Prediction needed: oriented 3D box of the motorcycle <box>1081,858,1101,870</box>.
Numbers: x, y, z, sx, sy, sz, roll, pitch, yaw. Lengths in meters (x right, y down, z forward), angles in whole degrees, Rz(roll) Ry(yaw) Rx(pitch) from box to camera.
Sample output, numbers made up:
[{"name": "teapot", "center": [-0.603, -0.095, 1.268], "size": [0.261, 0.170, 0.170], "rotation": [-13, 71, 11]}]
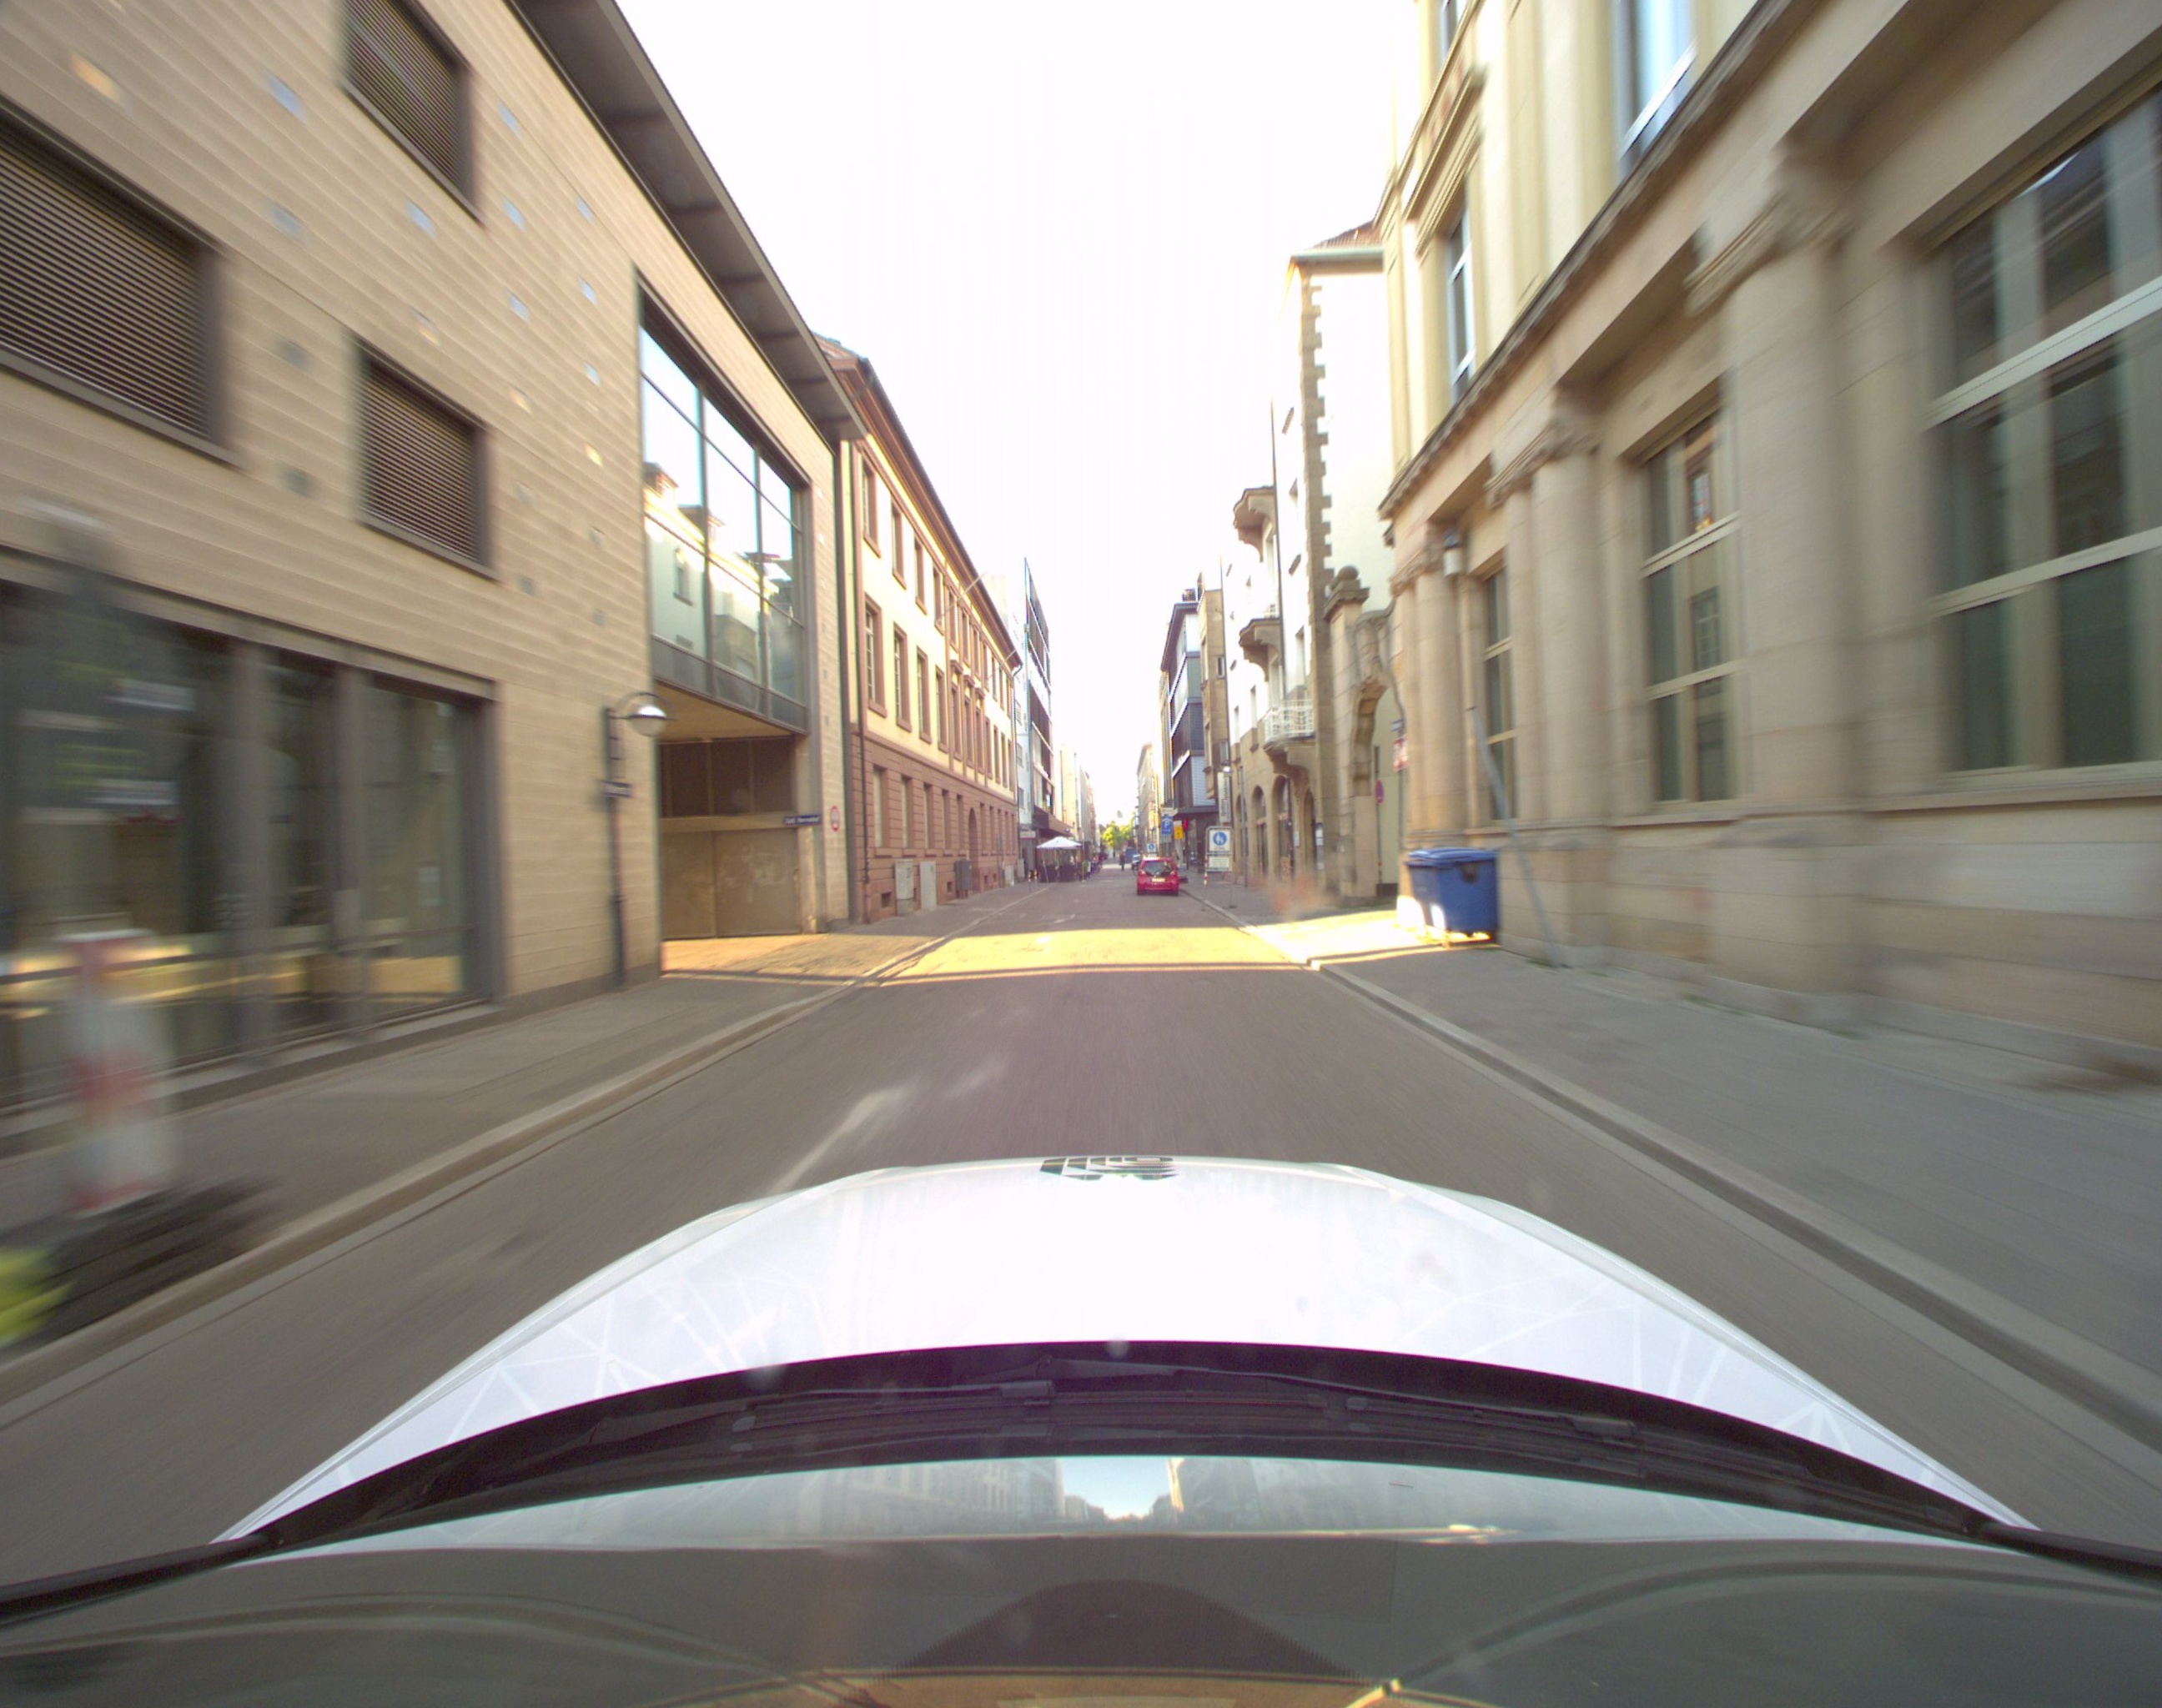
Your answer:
[{"name": "motorcycle", "center": [0.940, 0.931, 75.185], "size": [1.796, 0.989, 0.560], "rotation": [-2, 0, -2]}]

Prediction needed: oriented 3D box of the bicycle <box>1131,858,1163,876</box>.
[{"name": "bicycle", "center": [4.393, 0.877, 54.337], "size": [2.046, 1.134, 0.649], "rotation": [-2, 0, -2]}]

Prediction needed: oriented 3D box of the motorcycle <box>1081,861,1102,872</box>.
[{"name": "motorcycle", "center": [0.914, 1.113, 72.513], "size": [1.796, 0.875, 0.560], "rotation": [-2, 0, -2]}]

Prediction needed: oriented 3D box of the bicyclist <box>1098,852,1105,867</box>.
[{"name": "bicyclist", "center": [2.274, 0.600, 89.734], "size": [0.635, 1.641, 0.770], "rotation": [-2, 0, -7]}]

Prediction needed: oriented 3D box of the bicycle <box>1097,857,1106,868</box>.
[{"name": "bicycle", "center": [2.293, 0.963, 89.644], "size": [0.635, 1.157, 2.496], "rotation": [-2, 0, -6]}]

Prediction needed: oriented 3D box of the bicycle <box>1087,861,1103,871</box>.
[{"name": "bicycle", "center": [1.348, 1.145, 79.691], "size": [1.526, 0.896, 0.481], "rotation": [-2, 0, -26]}]

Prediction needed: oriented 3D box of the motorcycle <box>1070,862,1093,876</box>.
[{"name": "motorcycle", "center": [0.012, 1.220, 64.453], "size": [1.796, 1.040, 0.493], "rotation": [-2, 0, -2]}]

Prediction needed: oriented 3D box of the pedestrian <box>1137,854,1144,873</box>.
[{"name": "pedestrian", "center": [5.083, 0.801, 69.659], "size": [0.465, 1.619, 0.633], "rotation": [-2, 0, -9]}]

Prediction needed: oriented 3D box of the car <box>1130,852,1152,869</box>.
[{"name": "car", "center": [6.007, 0.623, 81.872], "size": [1.986, 1.611, 4.001], "rotation": [-2, 0, 1]}]

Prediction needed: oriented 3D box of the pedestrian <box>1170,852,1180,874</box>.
[{"name": "pedestrian", "center": [6.752, 0.645, 58.276], "size": [0.653, 1.487, 0.493], "rotation": [-2, 0, 4]}]

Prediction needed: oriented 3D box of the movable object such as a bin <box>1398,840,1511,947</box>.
[{"name": "movable object such as a bin", "center": [5.249, 0.530, 11.538], "size": [0.986, 1.392, 1.241], "rotation": [-3, 0, 2]}]

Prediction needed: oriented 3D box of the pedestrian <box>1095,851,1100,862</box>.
[{"name": "pedestrian", "center": [2.513, 0.390, 123.391], "size": [0.675, 1.623, 0.626], "rotation": [-2, 0, 4]}]

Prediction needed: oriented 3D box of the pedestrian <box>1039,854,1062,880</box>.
[{"name": "pedestrian", "center": [-1.788, 0.783, 48.468], "size": [1.286, 1.487, 0.661], "rotation": [-2, 0, 0]}]

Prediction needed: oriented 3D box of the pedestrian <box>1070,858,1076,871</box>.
[{"name": "pedestrian", "center": [-1.007, 1.294, 100.150], "size": [0.603, 1.623, 0.528], "rotation": [-2, 0, -8]}]

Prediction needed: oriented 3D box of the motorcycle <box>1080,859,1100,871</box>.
[{"name": "motorcycle", "center": [0.795, 0.984, 73.542], "size": [1.796, 0.989, 0.560], "rotation": [-2, 0, -2]}]

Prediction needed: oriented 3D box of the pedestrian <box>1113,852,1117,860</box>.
[{"name": "pedestrian", "center": [7.143, 0.420, 170.902], "size": [0.801, 1.672, 0.889], "rotation": [-2, 0, 4]}]

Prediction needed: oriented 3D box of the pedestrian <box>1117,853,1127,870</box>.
[{"name": "pedestrian", "center": [4.105, 0.746, 81.367], "size": [0.864, 1.713, 0.850], "rotation": [-2, 0, -6]}]

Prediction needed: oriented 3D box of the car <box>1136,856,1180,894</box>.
[{"name": "car", "center": [3.030, 0.787, 32.556], "size": [1.642, 1.427, 3.538], "rotation": [1, 0, 3]}]

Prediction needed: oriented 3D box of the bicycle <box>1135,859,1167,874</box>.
[{"name": "bicycle", "center": [4.895, 0.877, 57.073], "size": [2.194, 0.906, 0.649], "rotation": [-2, 0, -2]}]
